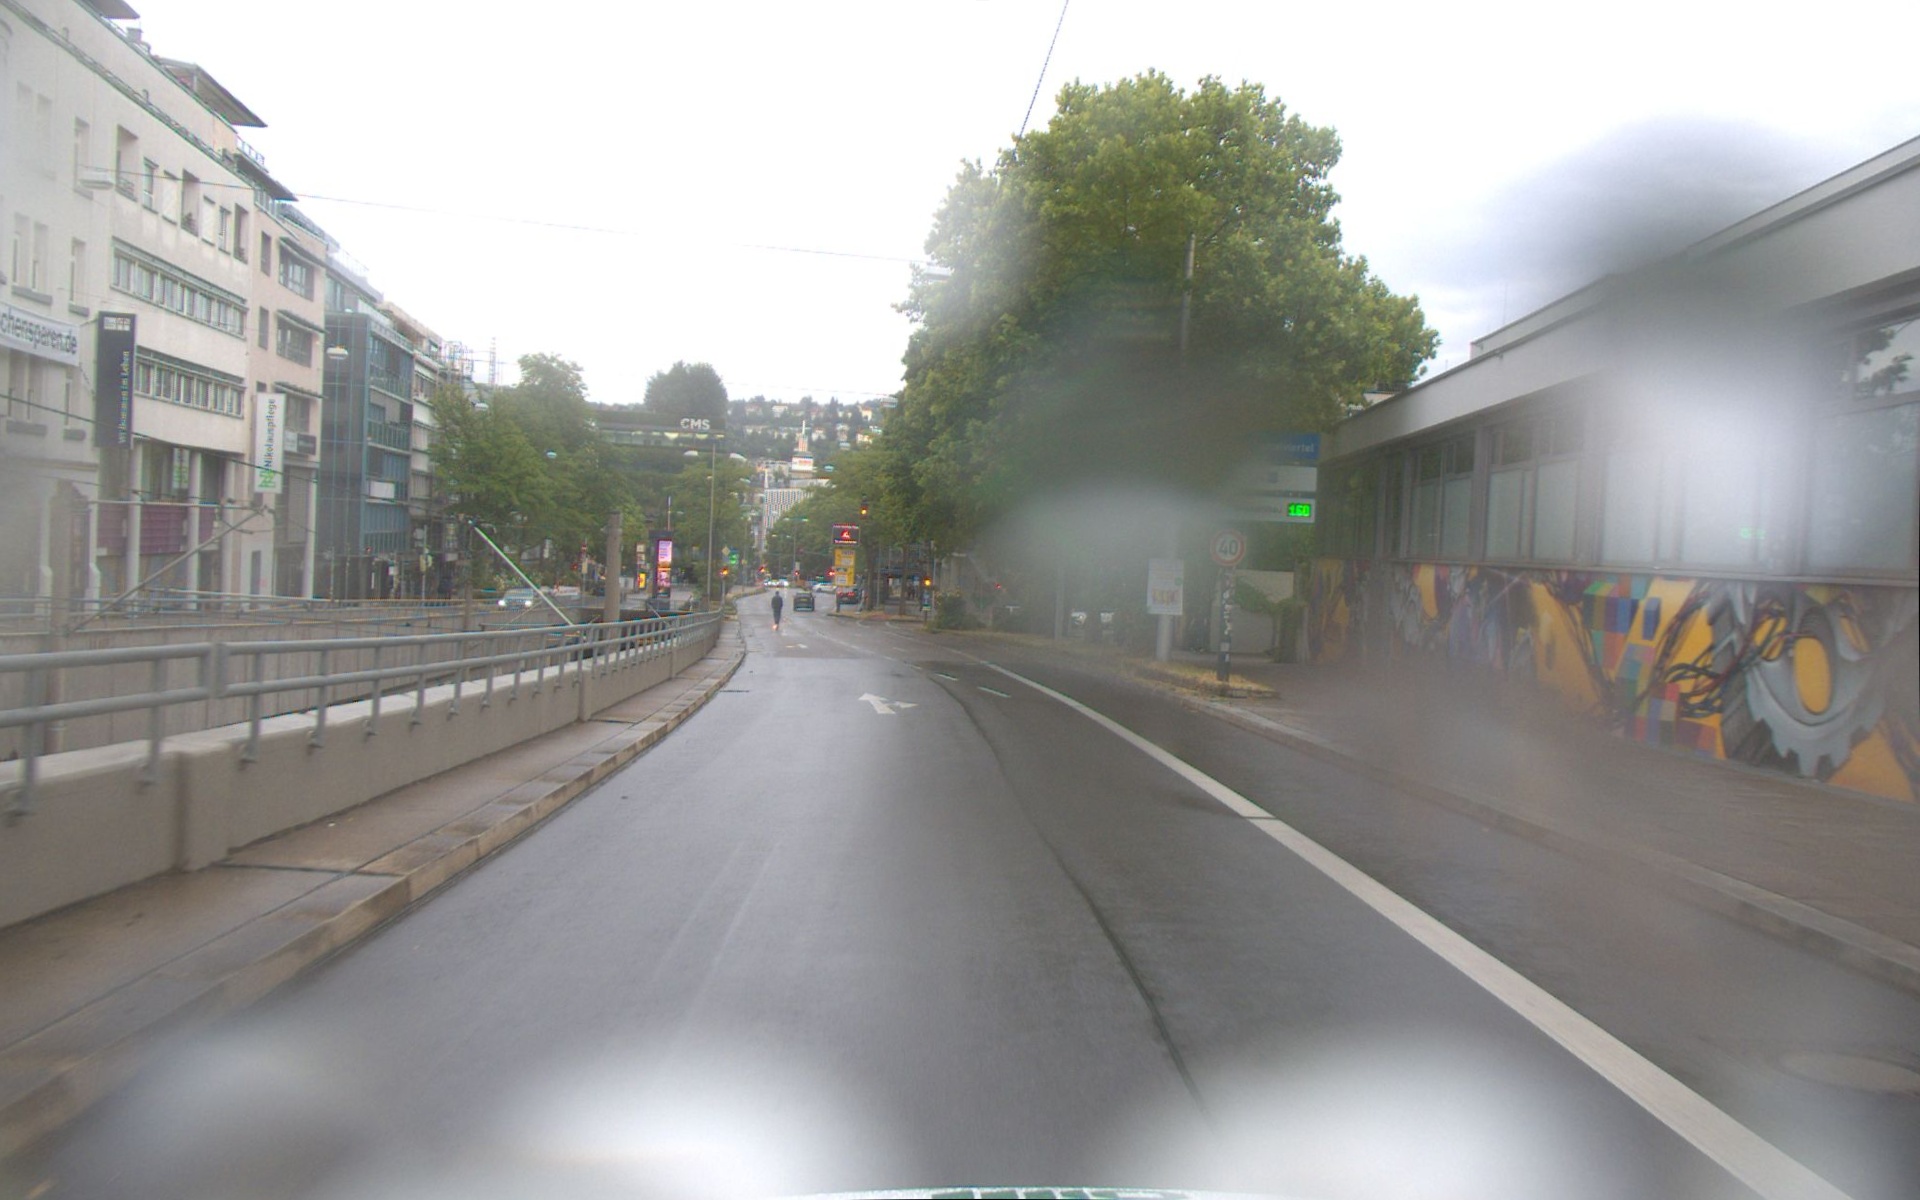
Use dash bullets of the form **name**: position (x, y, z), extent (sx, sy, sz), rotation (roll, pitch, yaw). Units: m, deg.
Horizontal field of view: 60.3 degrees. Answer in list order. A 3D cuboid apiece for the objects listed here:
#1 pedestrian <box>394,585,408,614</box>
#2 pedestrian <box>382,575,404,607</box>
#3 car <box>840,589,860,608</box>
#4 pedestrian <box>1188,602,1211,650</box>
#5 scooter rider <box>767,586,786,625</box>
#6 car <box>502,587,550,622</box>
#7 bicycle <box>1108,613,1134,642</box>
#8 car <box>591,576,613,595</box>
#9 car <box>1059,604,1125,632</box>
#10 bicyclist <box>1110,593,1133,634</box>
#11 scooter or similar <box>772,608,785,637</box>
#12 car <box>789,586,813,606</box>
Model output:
- **pedestrian**: position (-33.360, -0.003, 98.689), extent (0.652, 1.701, 0.487), rotation (2, 0, -9)
- **pedestrian**: position (-35.181, -0.561, 102.572), extent (0.845, 1.901, 0.960), rotation (3, 0, 10)
- **car**: position (-11.009, -0.157, 165.566), extent (1.864, 1.713, 3.908), rotation (3, 0, -4)
- **pedestrian**: position (9.599, 1.031, 66.282), extent (0.790, 1.897, 1.056), rotation (1, 0, 1)
- **scooter rider**: position (-9.609, 0.266, 86.563), extent (0.794, 1.982, 0.820), rotation (3, 0, -12)
- **car**: position (-23.471, 0.241, 89.521), extent (1.801, 1.742, 4.571), rotation (2, 0, -6)
- **bicycle**: position (6.651, 1.132, 68.516), extent (0.790, 1.131, 2.197), rotation (2, 0, -1)
- **car**: position (-35.011, -1.439, 161.895), extent (1.747, 1.582, 3.887), rotation (3, 2, -9)
- **car**: position (9.075, 1.238, 113.493), extent (4.303, 1.713, 1.732), rotation (3, 0, -33)
- **bicyclist**: position (6.673, 0.576, 68.435), extent (0.790, 1.656, 1.046), rotation (2, -1, -1)
- **scooter or similar**: position (-9.531, 1.153, 86.769), extent (0.536, 1.443, 1.951), rotation (3, 0, -9)
- **car**: position (-13.115, -0.365, 136.228), extent (1.713, 1.545, 4.099), rotation (3, 0, -8)
